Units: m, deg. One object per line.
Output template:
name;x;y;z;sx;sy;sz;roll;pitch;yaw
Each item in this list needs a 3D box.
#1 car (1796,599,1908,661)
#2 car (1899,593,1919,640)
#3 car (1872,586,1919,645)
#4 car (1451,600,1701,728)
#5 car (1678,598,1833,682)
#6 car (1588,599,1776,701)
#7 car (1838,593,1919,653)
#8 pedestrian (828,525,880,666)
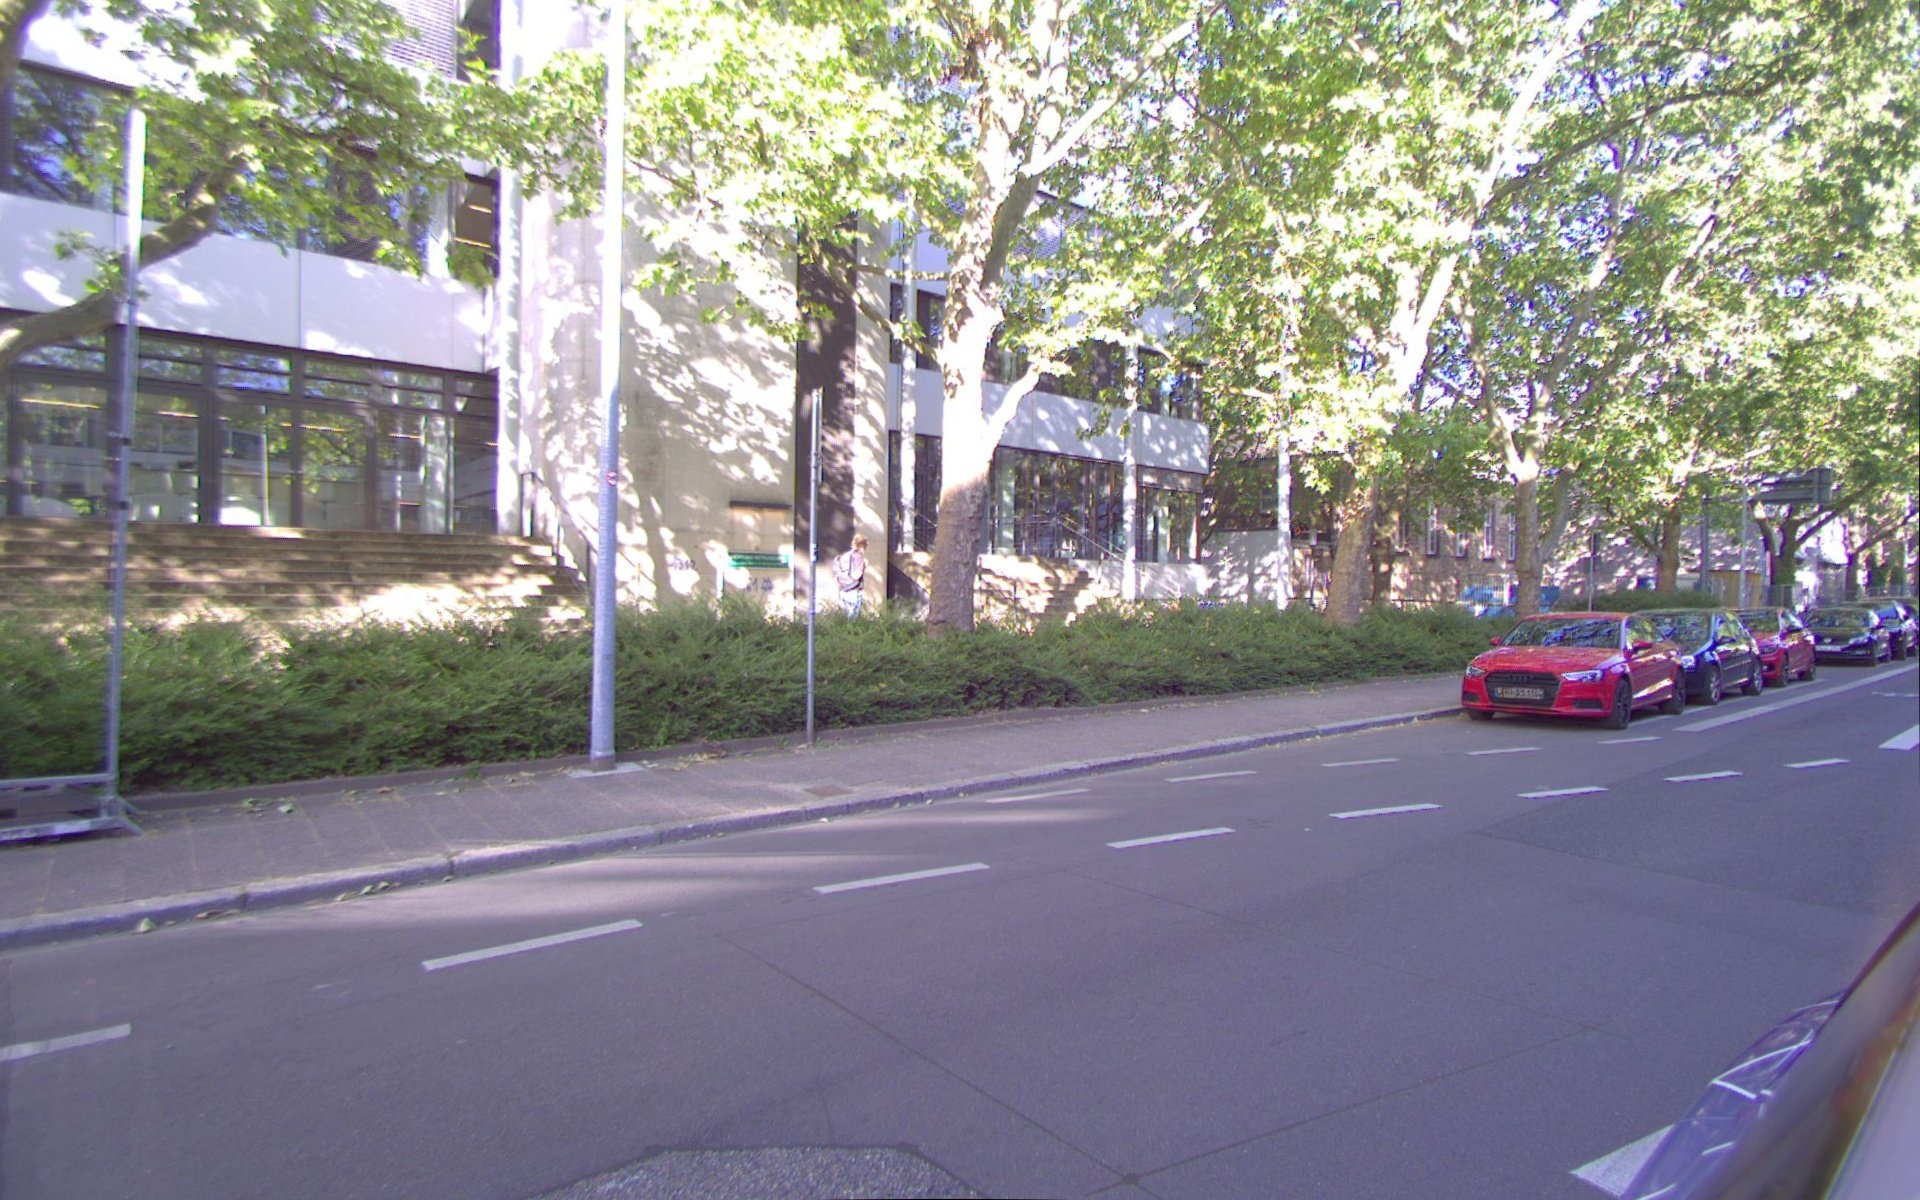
car;22.953;0.708;25.990;3.855;1.441;1.691;-1;0;-41
car;35.541;0.567;36.786;4.497;1.633;1.632;-1;0;-41
car;31.177;0.468;33.016;4.497;1.814;1.632;-1;0;-41
car;8.305;0.734;13.519;3.931;1.409;1.792;-1;0;-42
car;15.748;0.705;19.975;3.854;1.467;1.691;-1;0;-40
car;11.860;0.727;16.549;3.632;1.436;1.668;-1;0;-40
car;26.639;0.600;29.047;4.158;1.598;1.632;-1;0;-41
pedestrian;-1.575;-0.073;15.043;0.549;2.039;0.555;0;0;38
